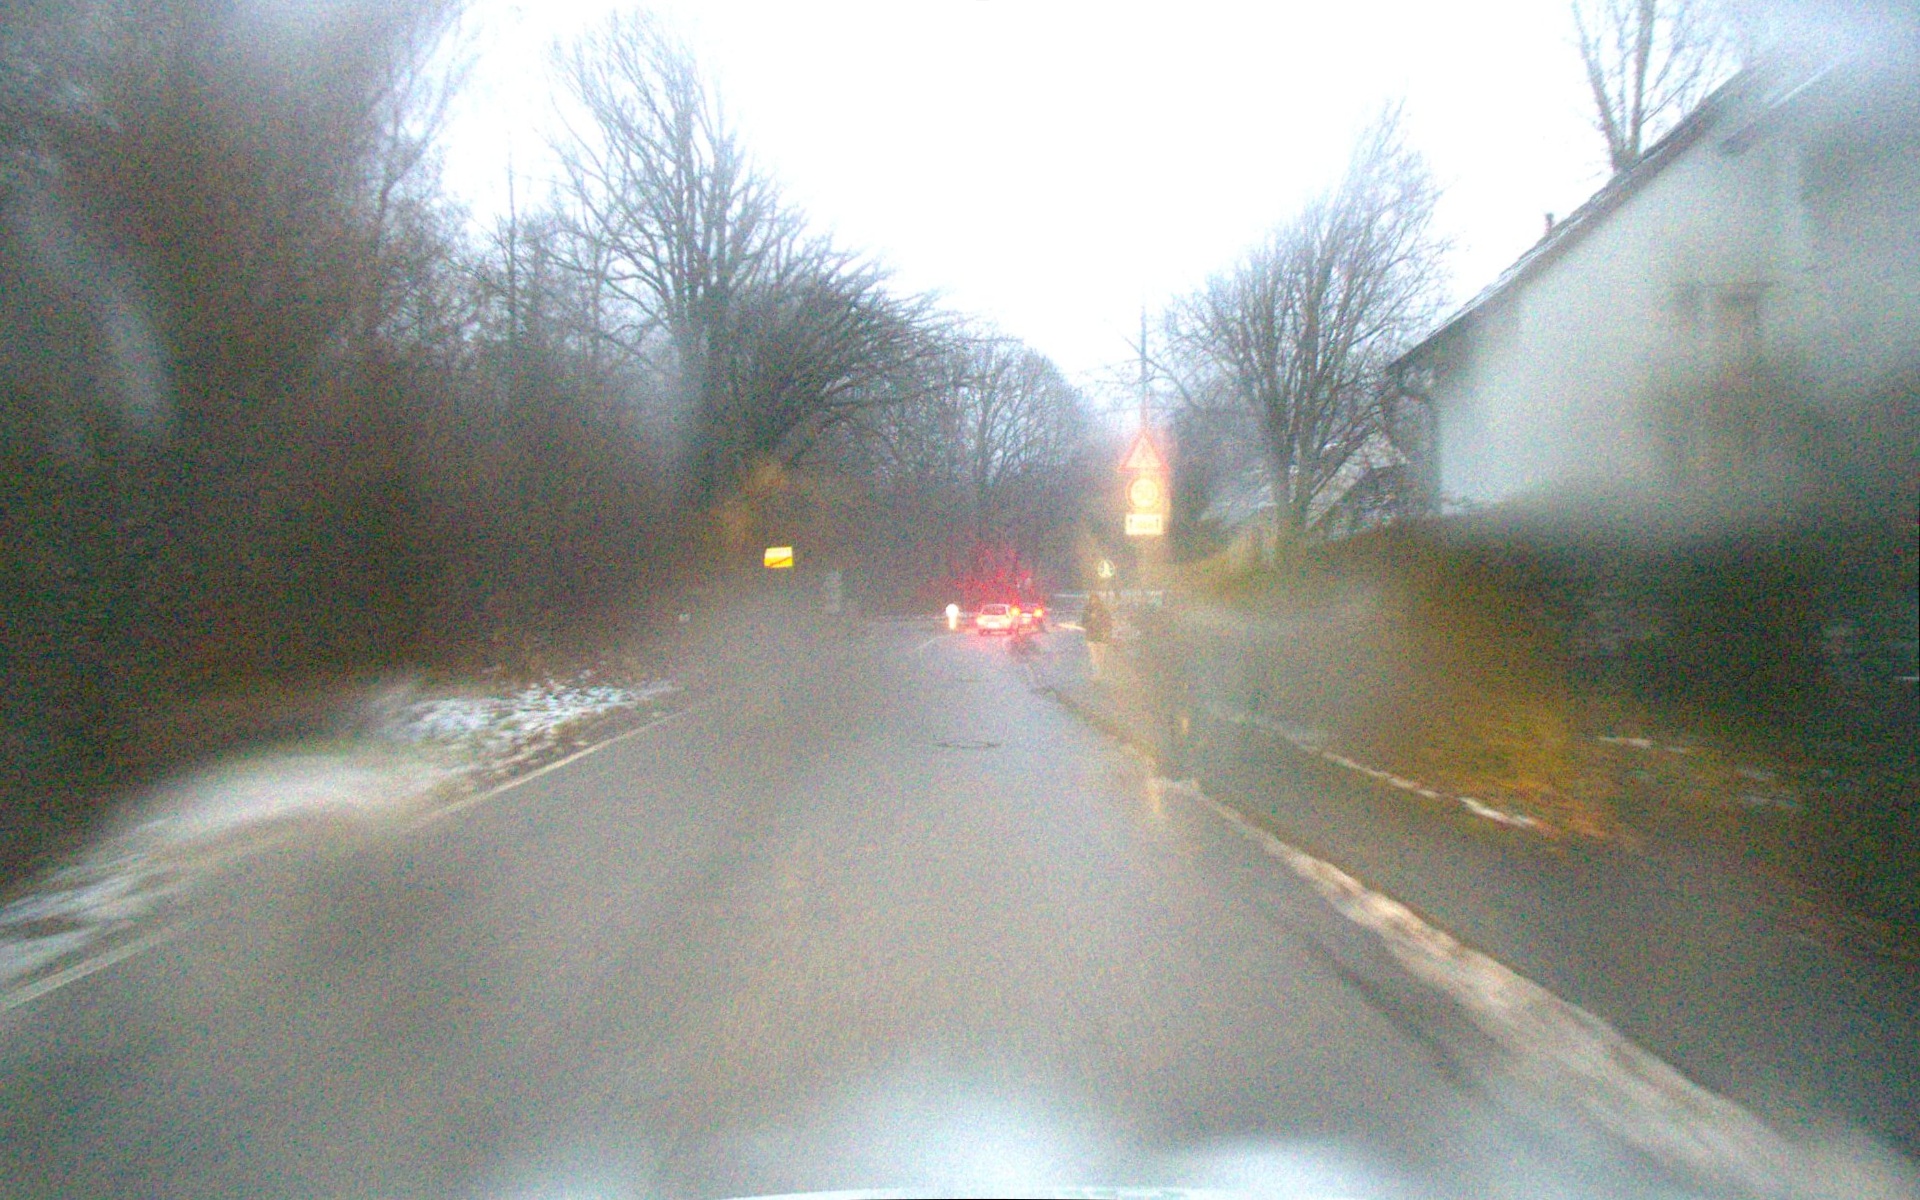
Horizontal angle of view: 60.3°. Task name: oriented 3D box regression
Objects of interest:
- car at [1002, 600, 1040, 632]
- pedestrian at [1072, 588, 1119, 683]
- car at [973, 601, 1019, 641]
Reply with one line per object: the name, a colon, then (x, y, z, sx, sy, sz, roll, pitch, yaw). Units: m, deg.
car: (3.344, 0.863, 90.838, 1.893, 1.705, 3.999, 0, 0, -1)
pedestrian: (2.440, 0.633, 29.892, 0.728, 1.684, 0.970, 0, 0, -2)
car: (1.728, 0.977, 78.477, 1.892, 1.812, 4.003, 0, 0, 5)
